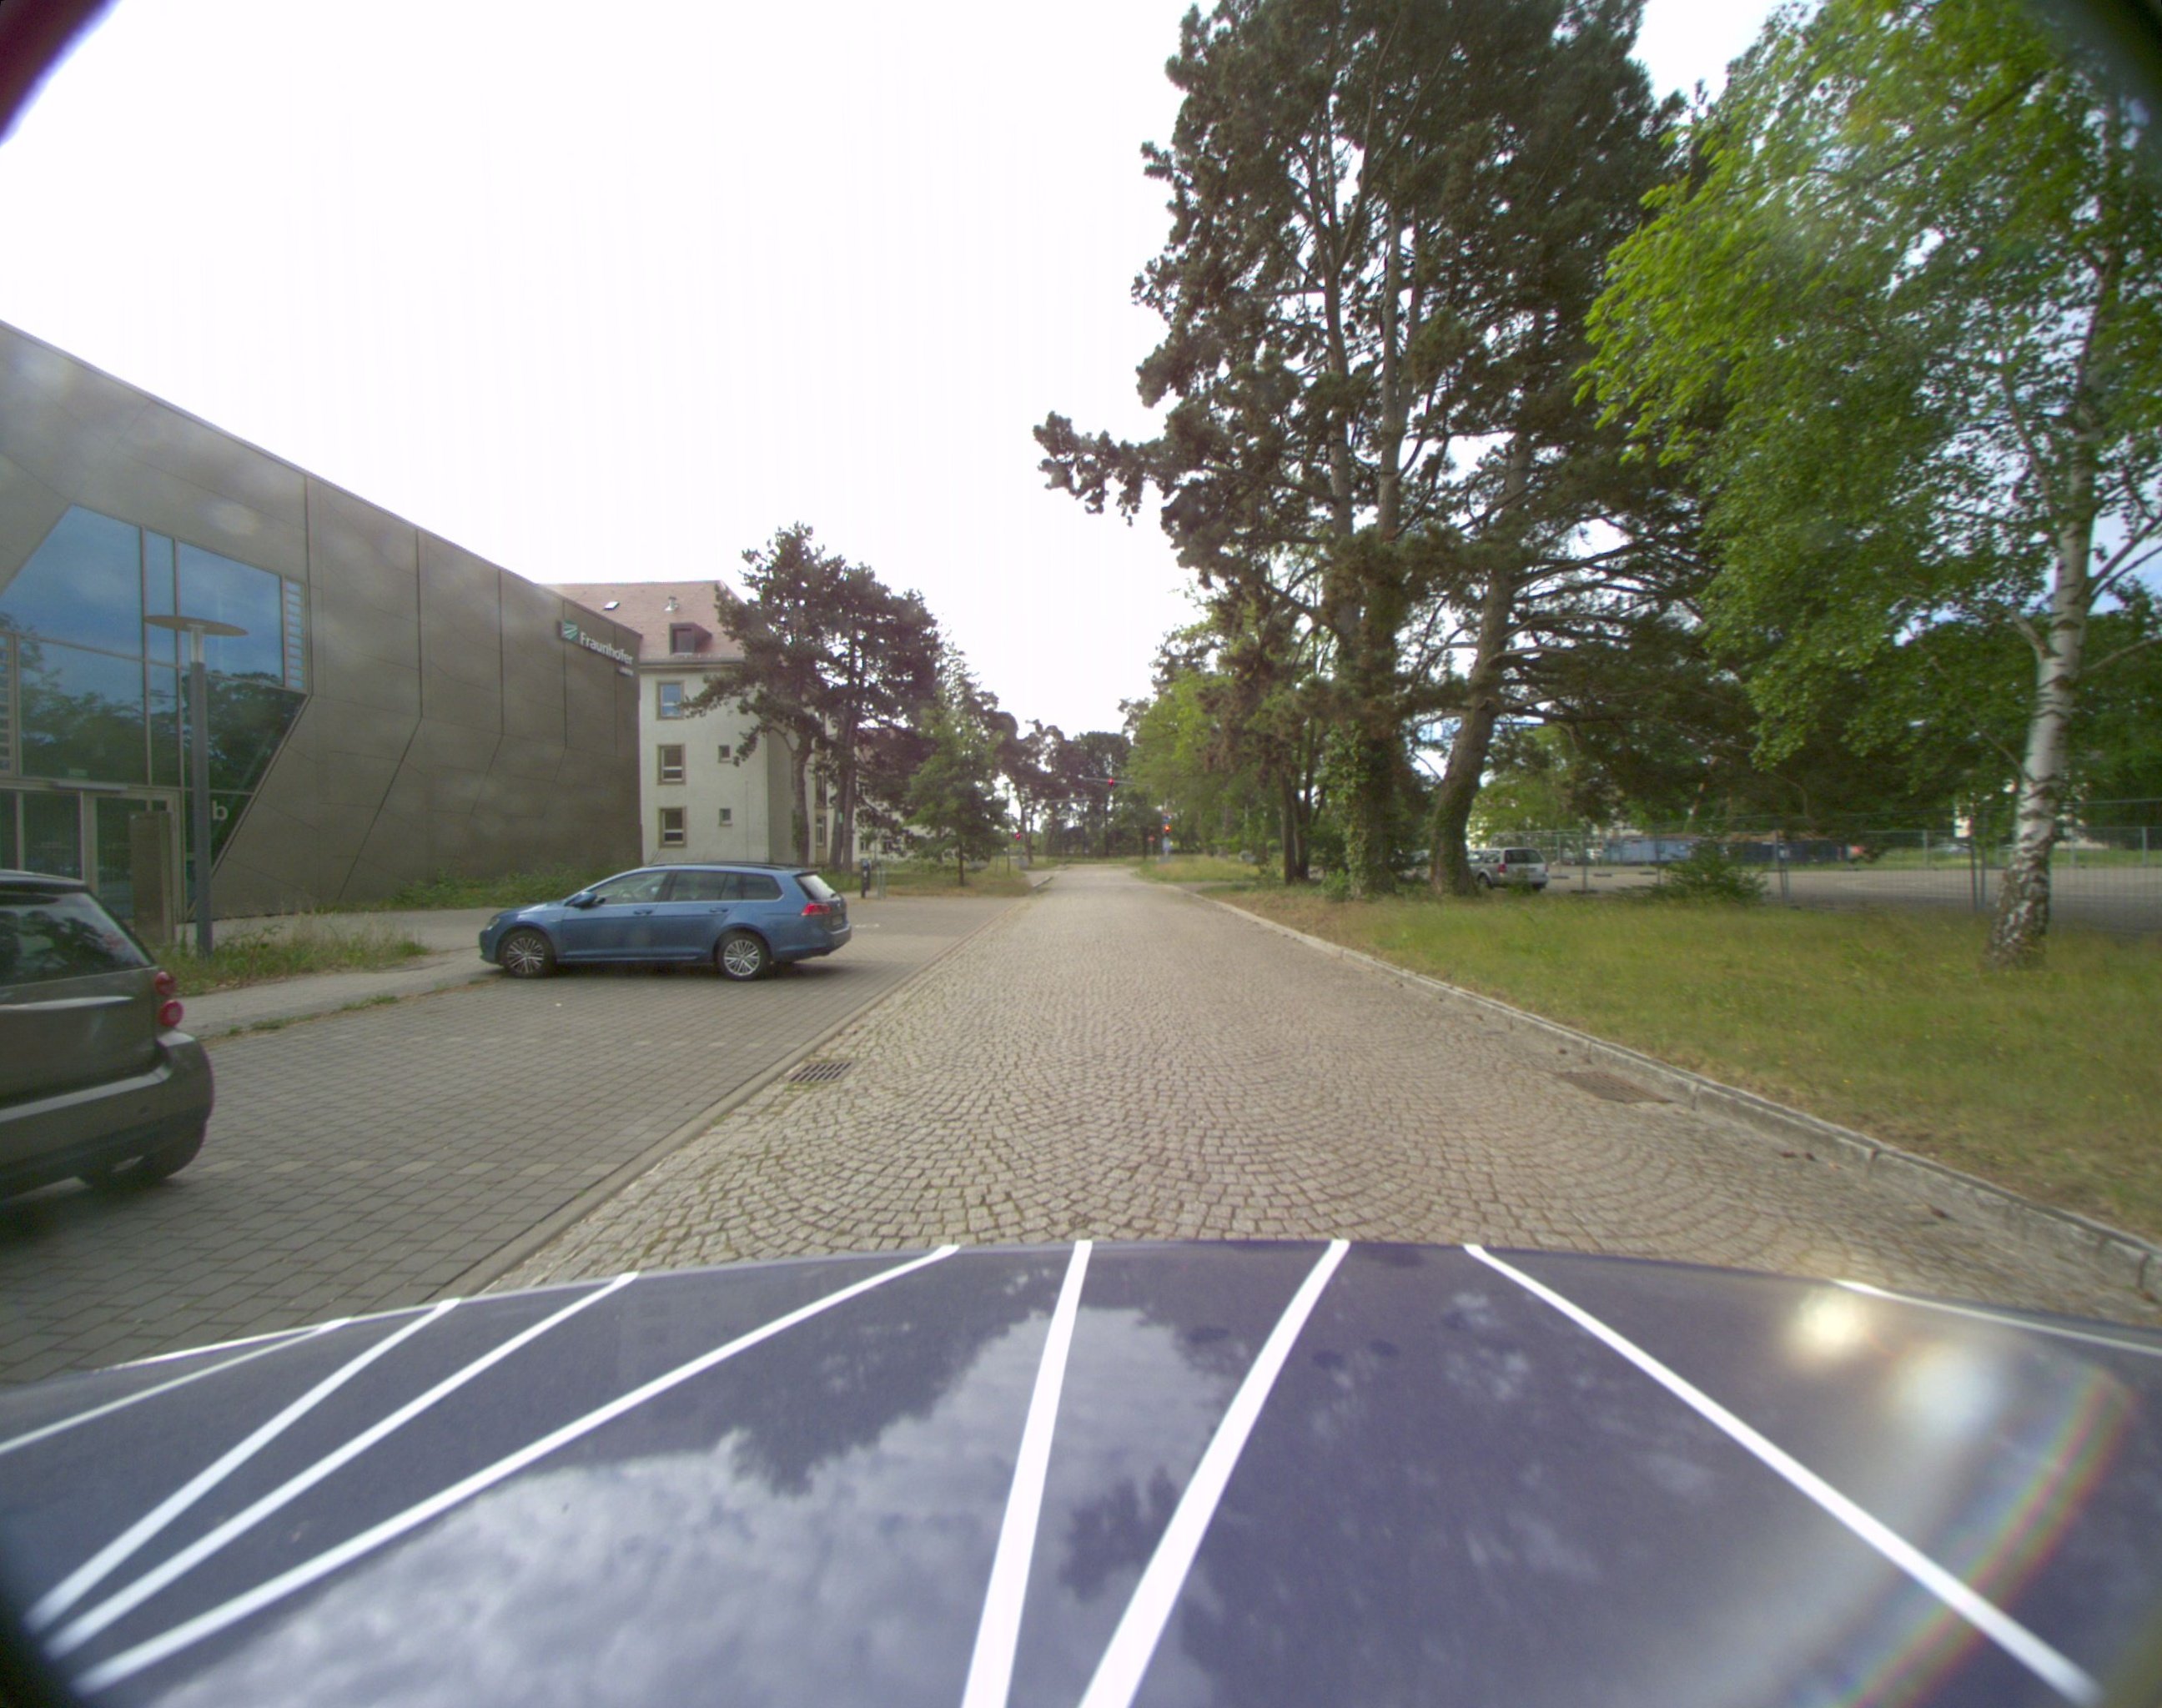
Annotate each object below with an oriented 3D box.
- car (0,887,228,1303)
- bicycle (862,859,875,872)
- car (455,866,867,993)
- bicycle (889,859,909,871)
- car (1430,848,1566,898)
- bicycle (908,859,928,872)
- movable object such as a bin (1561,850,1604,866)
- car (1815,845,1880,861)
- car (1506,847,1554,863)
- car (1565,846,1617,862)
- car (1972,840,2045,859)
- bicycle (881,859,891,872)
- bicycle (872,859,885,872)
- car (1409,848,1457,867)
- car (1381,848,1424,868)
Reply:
[{"bbox_3d":[-5.533,0.930,2.912,2.716,1.547,1.654,2,0,3],"label":"car"},{"bbox_3d":[-19.541,1.048,69.890,0.447,1.121,1.732,-1,0,9],"label":"bicycle"},{"bbox_3d":[-5.403,0.951,10.259,4.503,1.466,1.830,1,0,-2],"label":"car"},{"bbox_3d":[-16.387,0.970,68.386,1.655,1.079,0.615,-1,1,2],"label":"bicycle"},{"bbox_3d":[13.251,0.556,24.515,1.829,1.408,4.420,2,0,-2],"label":"car"},{"bbox_3d":[-14.686,1.030,68.524,1.656,1.079,0.614,-1,1,-3],"label":"bicycle"},{"bbox_3d":[32.788,0.260,49.728,1.448,0.963,1.957,-1,0,-7],"label":"movable object such as a bin"},{"bbox_3d":[73.790,-0.075,73.215,1.829,1.466,4.402,-1,0,0],"label":"car"},{"bbox_3d":[43.385,0.108,73.515,1.829,1.466,4.401,-1,0,-2],"label":"car"},{"bbox_3d":[49.218,0.001,73.399,1.830,1.466,4.400,-1,0,-4],"label":"car"},{"bbox_3d":[88.773,-0.416,72.825,1.828,1.712,4.585,-1,0,8],"label":"car"},{"bbox_3d":[-17.946,1.037,70.029,0.476,1.121,1.656,-1,0,-1],"label":"bicycle"},{"bbox_3d":[-18.571,1.033,69.797,0.476,1.121,1.704,-1,0,9],"label":"bicycle"},{"bbox_3d":[28.823,0.295,62.367,1.829,1.466,4.401,-1,0,-2],"label":"car"},{"bbox_3d":[26.172,0.332,61.963,1.674,1.510,3.899,-1,-2,-2],"label":"car"}]
